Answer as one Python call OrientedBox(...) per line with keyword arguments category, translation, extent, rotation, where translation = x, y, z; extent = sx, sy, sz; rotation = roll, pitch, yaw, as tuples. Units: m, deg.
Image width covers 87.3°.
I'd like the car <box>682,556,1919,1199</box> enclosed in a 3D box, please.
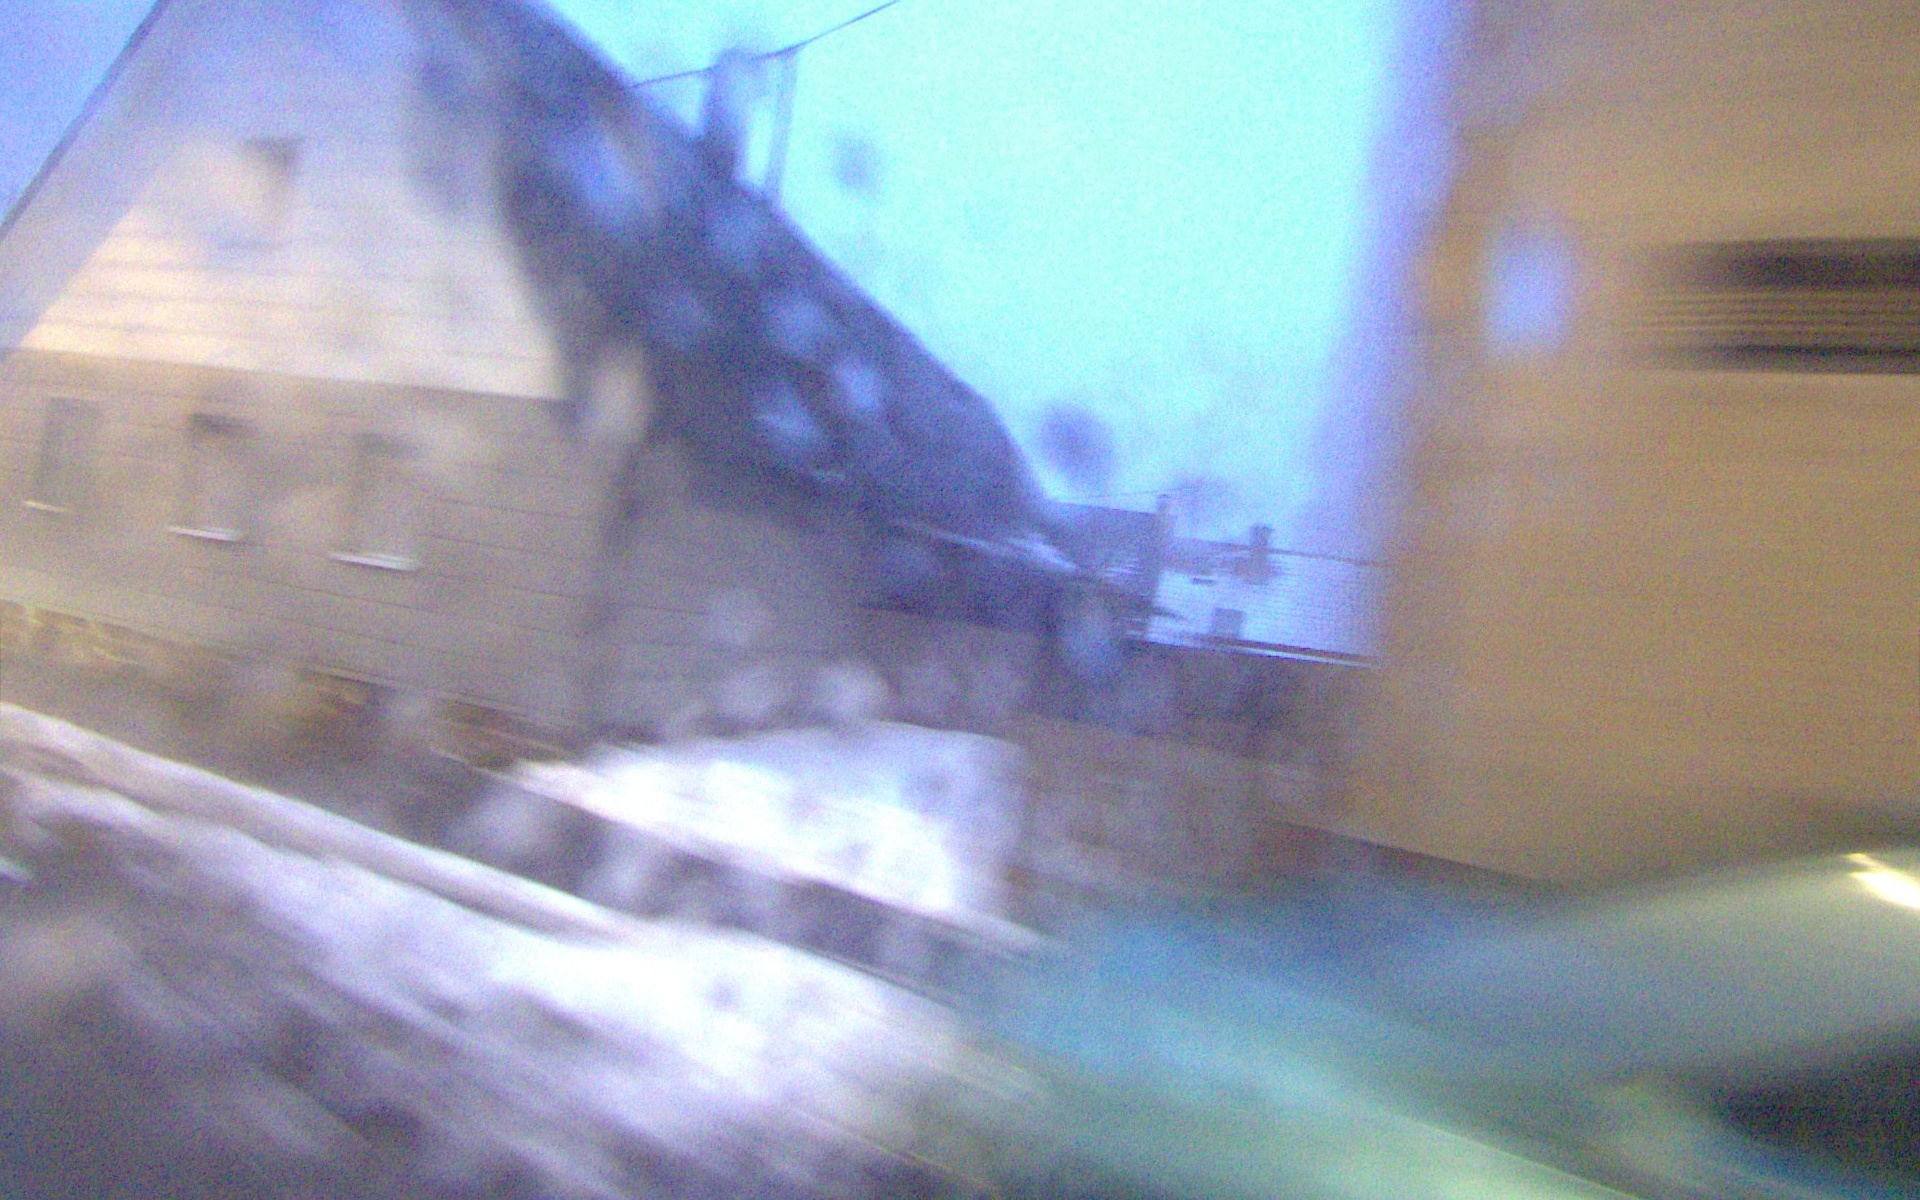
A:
OrientedBox(category="car", translation=(1.811, 0.947, 1.645), extent=(4.209, 1.498, 1.915), rotation=(6, -2, 30))
